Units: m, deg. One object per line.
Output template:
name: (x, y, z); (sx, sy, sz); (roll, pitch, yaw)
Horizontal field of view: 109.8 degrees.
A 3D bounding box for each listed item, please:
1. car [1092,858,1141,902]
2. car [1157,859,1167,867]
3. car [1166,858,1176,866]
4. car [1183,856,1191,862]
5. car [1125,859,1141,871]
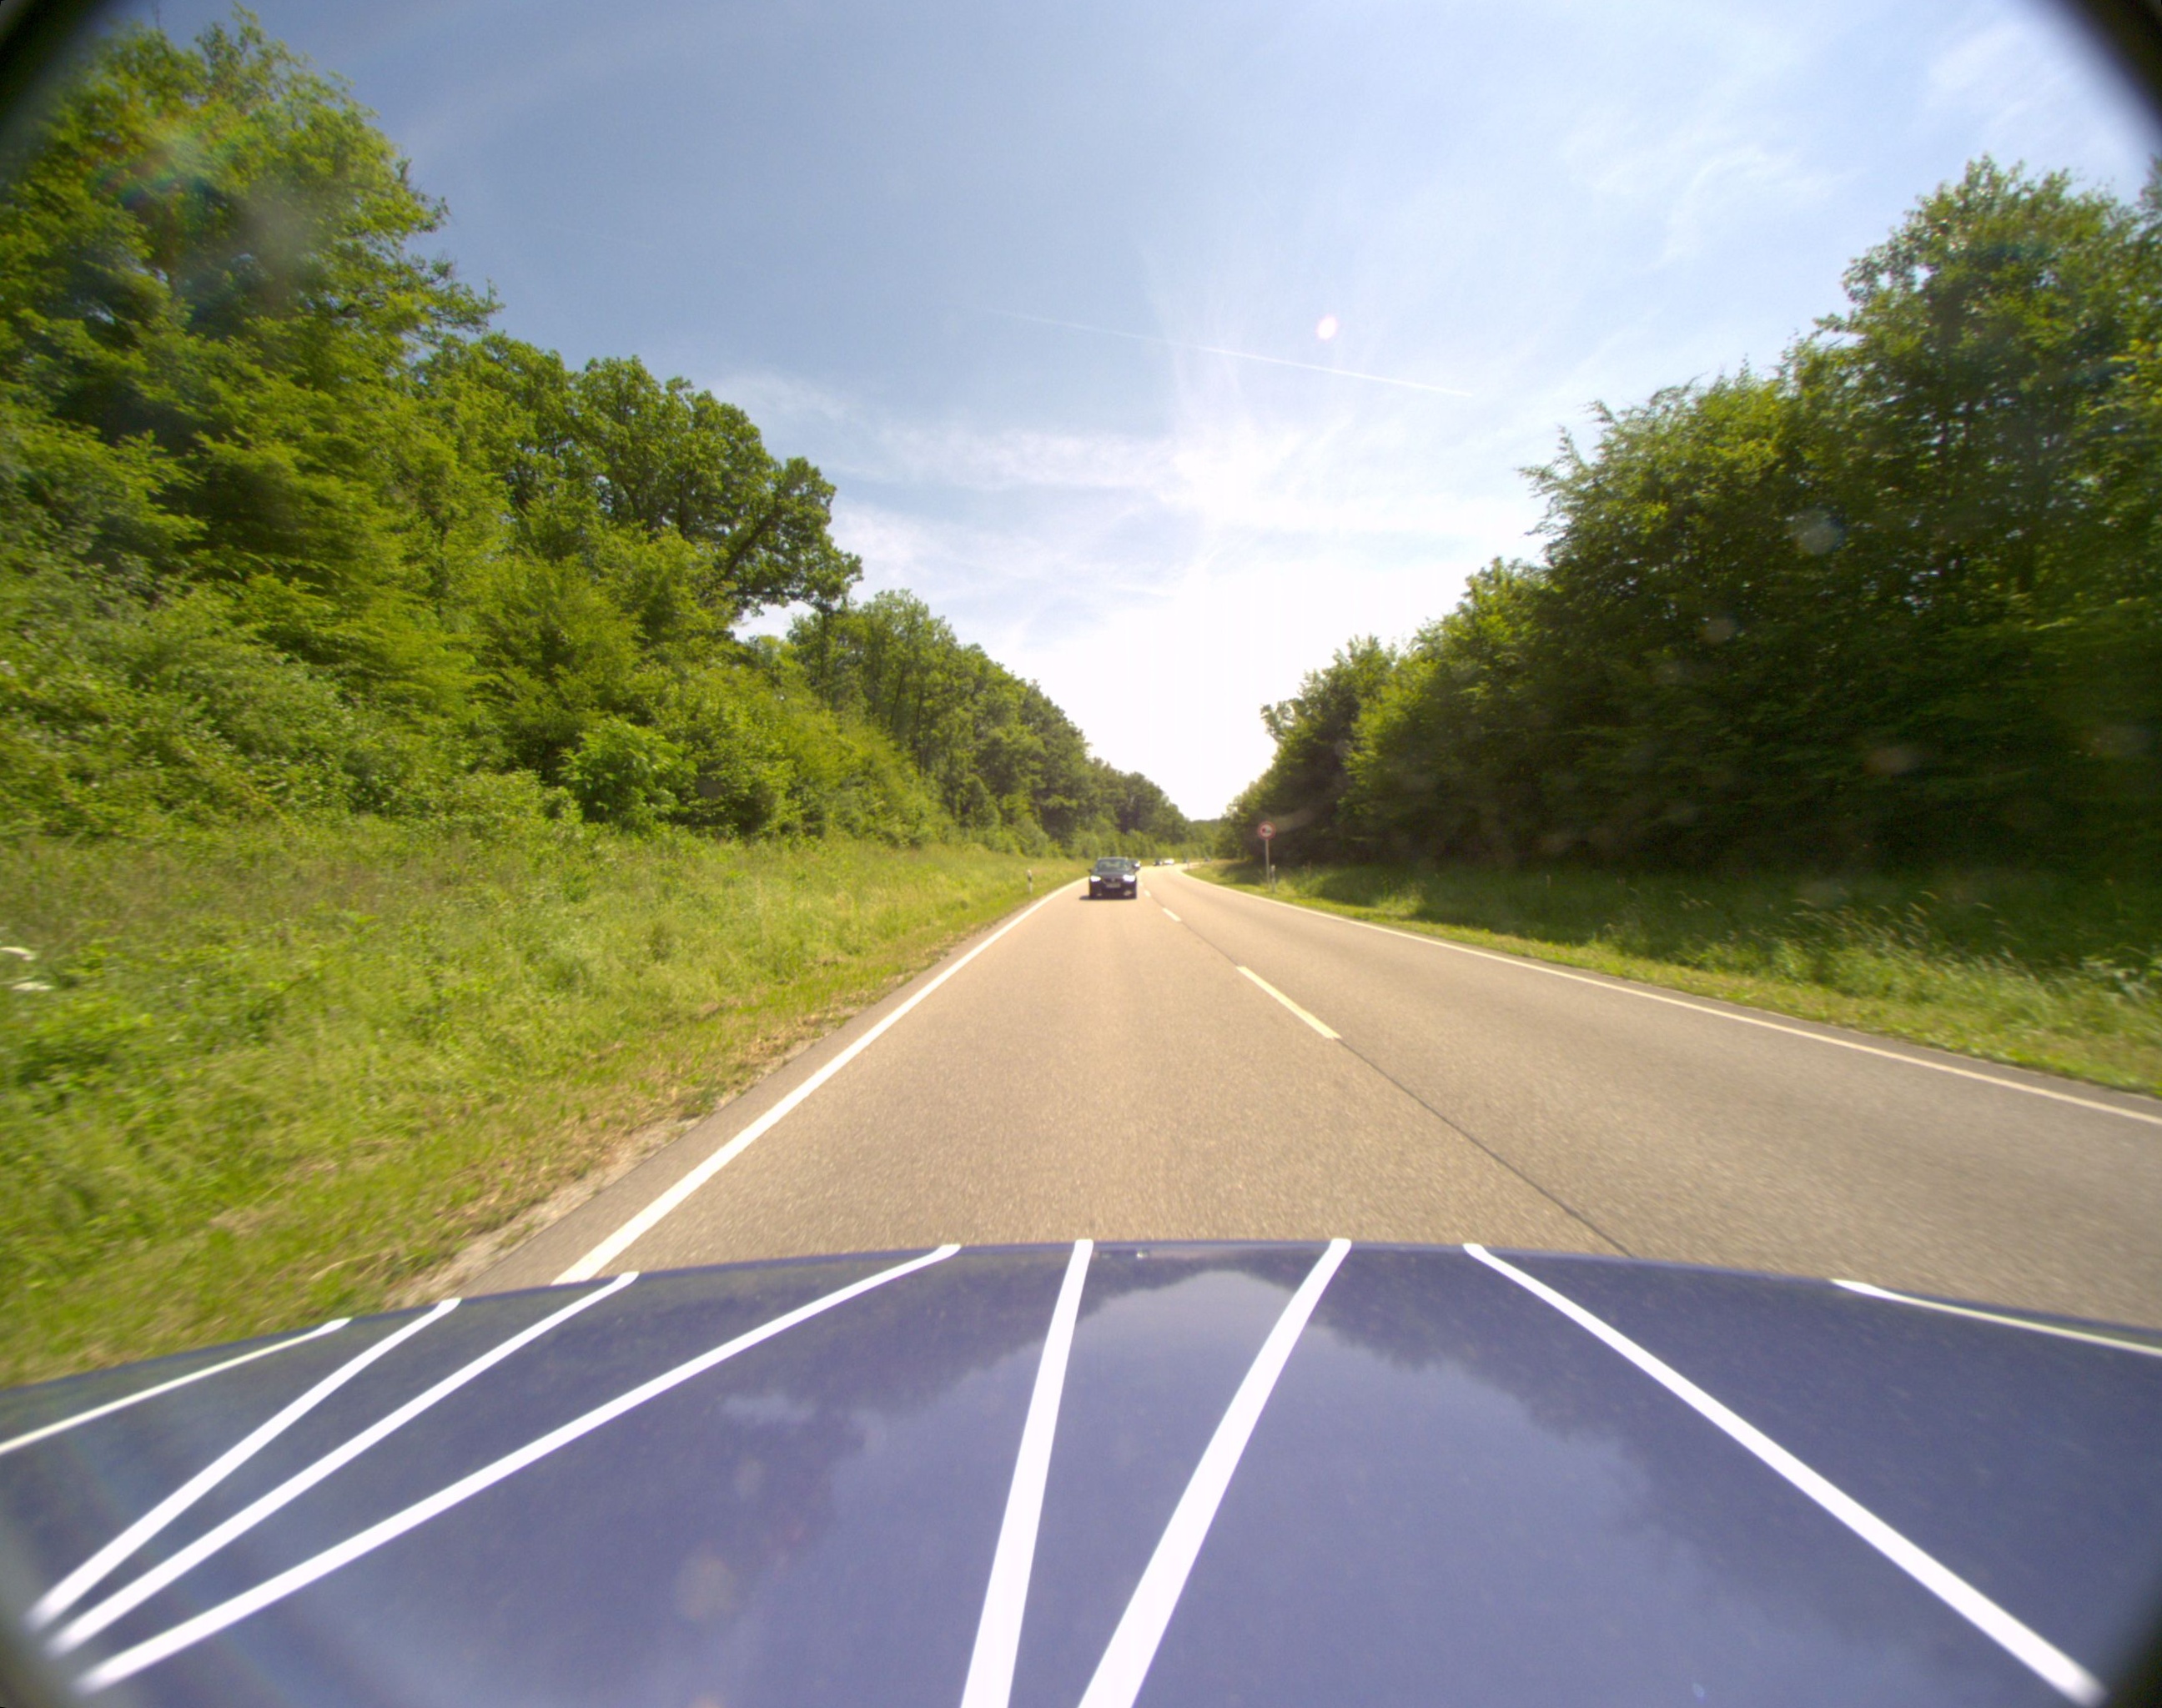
car: (1.312, 0.921, 28.919); (1.713, 1.516, 4.242); (-1, 0, 2)
car: (16.068, 1.752, 151.098); (1.775, 1.454, 4.003); (-1, 0, 9)
car: (20.991, 1.928, 177.454); (2.017, 1.737, 4.385); (-1, 0, 12)
car: (29.511, 1.452, 211.337); (1.691, 1.718, 4.003); (-1, 0, 12)
car: (6.939, 1.423, 100.872); (1.775, 1.454, 3.950); (-1, 0, 7)
